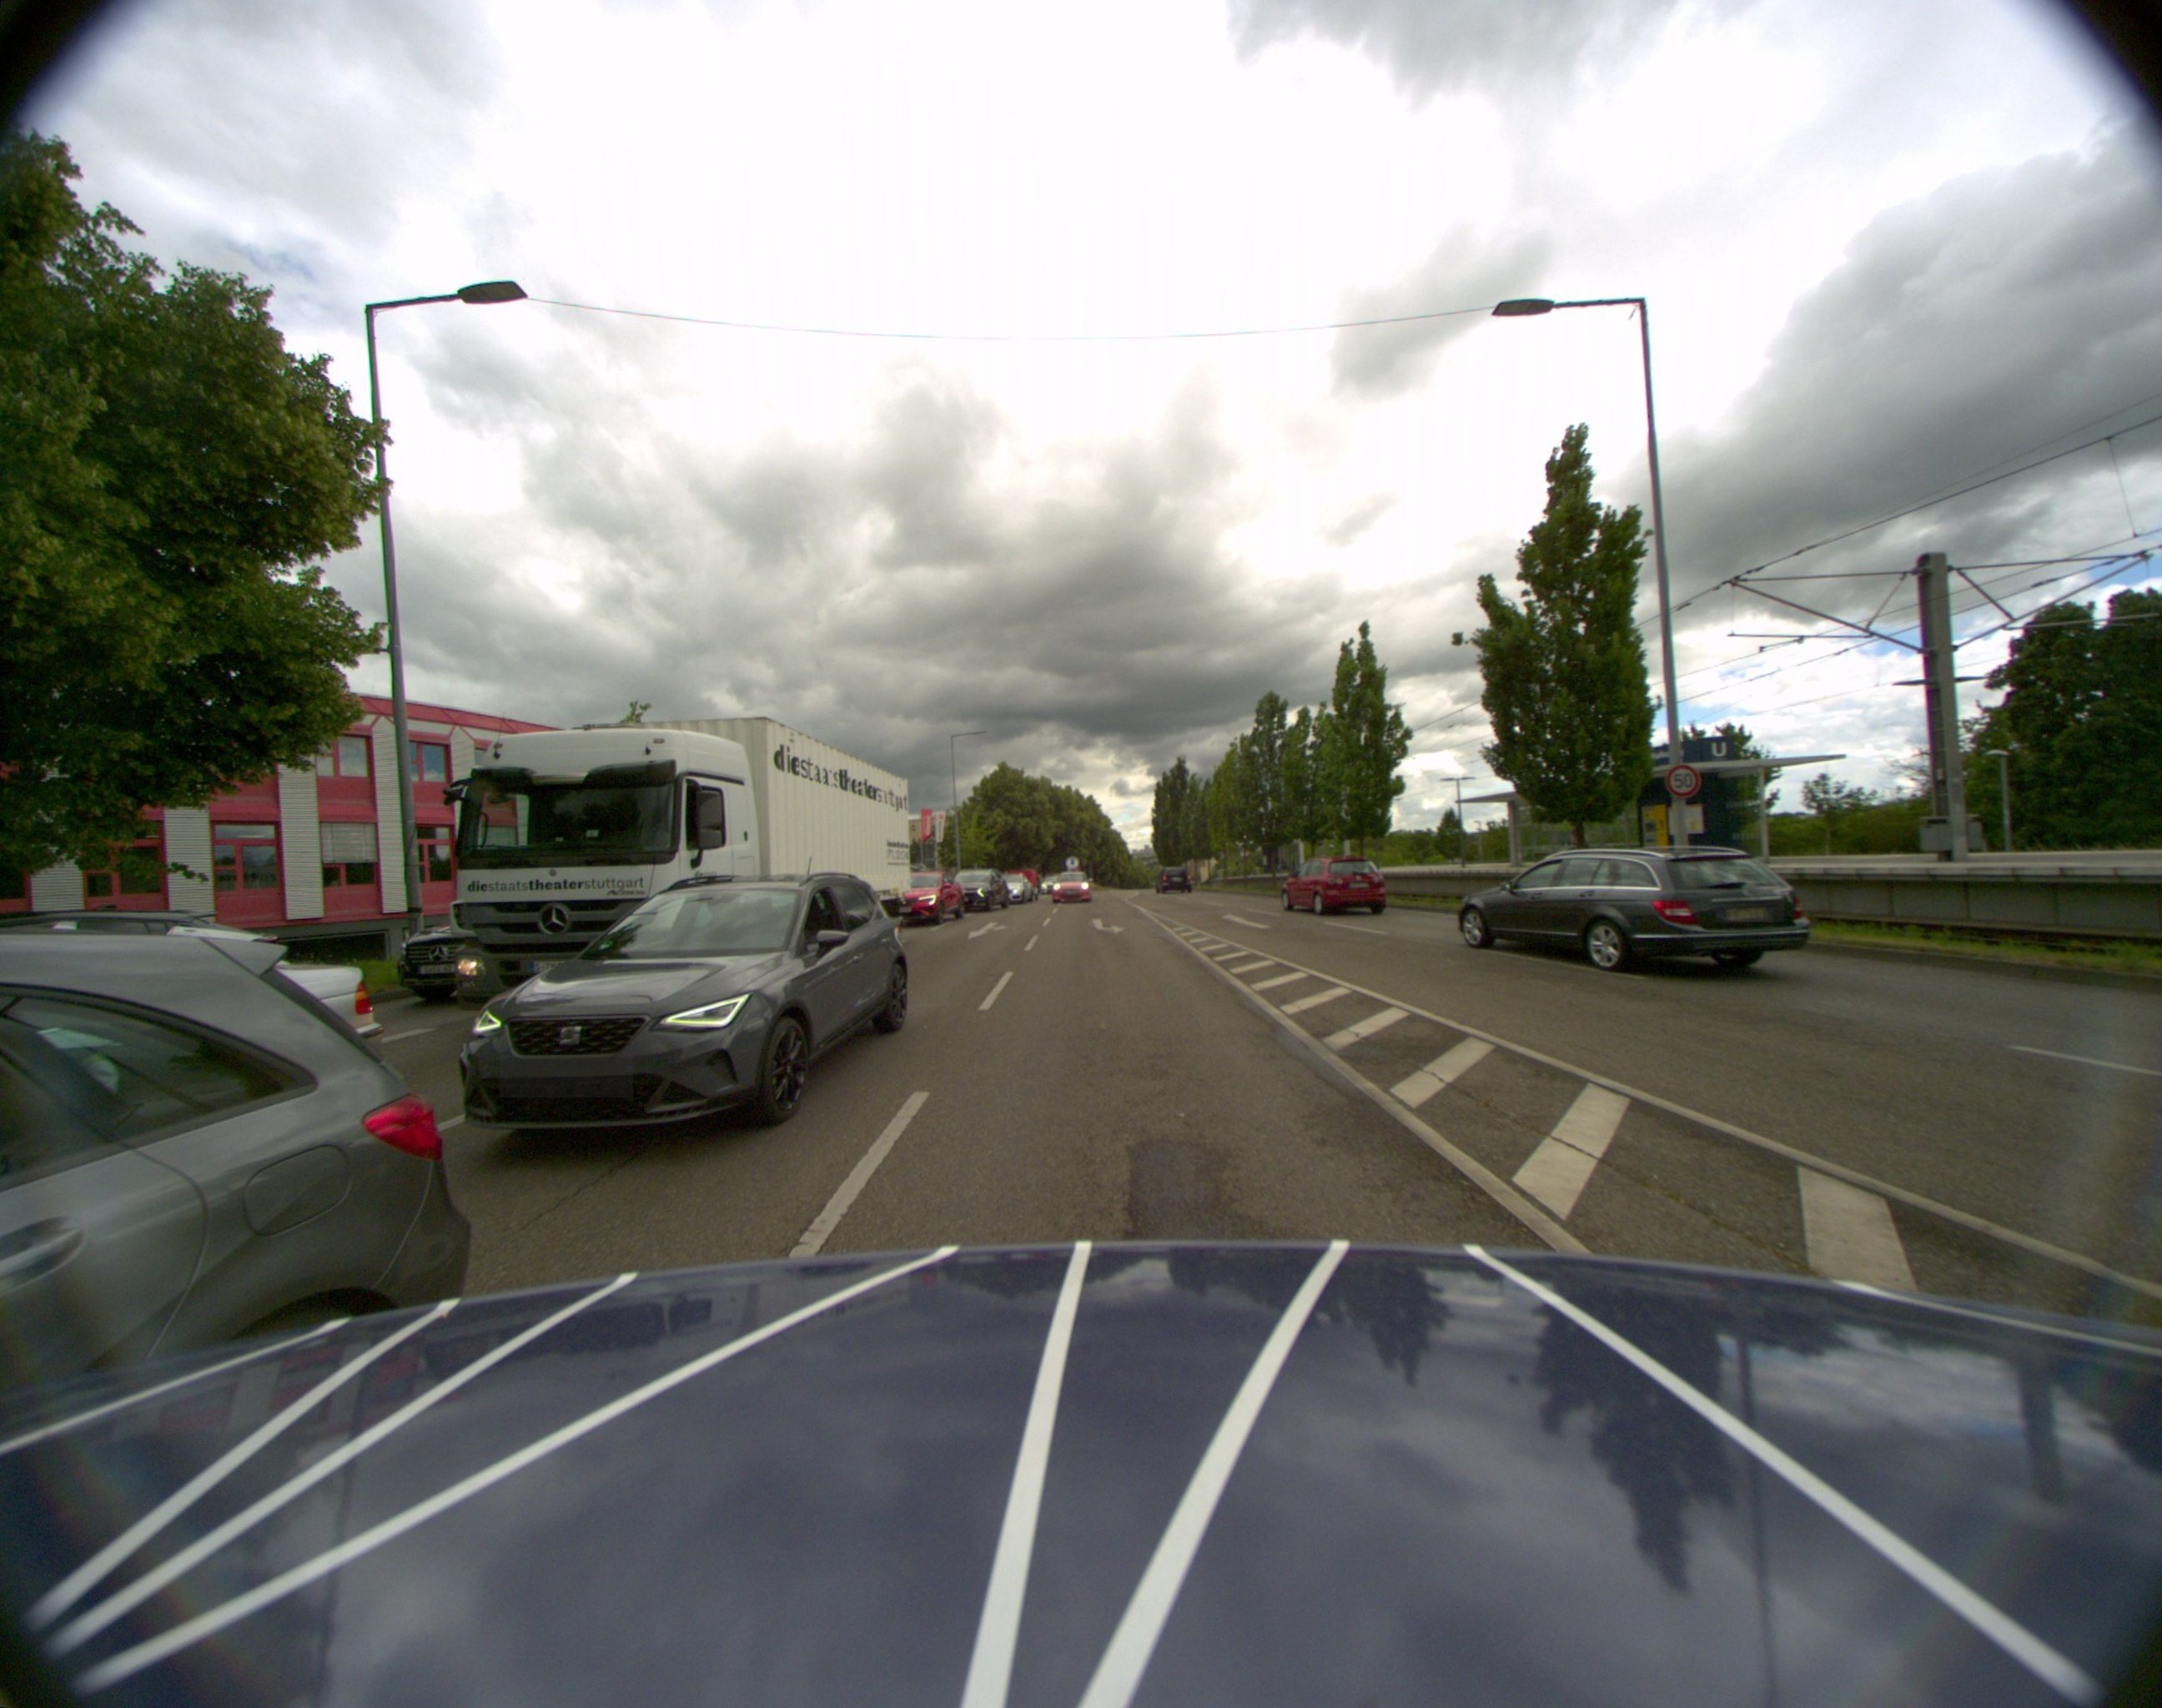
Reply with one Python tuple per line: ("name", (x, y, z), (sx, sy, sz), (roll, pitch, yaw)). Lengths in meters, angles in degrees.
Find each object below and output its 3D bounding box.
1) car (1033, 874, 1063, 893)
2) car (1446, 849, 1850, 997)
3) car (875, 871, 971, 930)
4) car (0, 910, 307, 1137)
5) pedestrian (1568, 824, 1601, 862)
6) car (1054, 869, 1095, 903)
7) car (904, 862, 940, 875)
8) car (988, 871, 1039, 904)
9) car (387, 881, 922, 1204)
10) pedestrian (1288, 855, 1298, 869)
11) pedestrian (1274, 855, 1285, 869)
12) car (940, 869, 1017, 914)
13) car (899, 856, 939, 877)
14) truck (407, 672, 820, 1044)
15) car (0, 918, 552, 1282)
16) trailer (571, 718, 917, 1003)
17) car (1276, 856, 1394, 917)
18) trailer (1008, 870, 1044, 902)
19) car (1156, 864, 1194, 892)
("car", (-2.458, 2.262, 57.523), (1.739, 1.365, 4.003), (-2, -3, 5))
("car", (6.874, 0.713, 9.996), (1.695, 1.431, 4.544), (-3, 0, -3))
("car", (-4.710, 1.346, 23.294), (1.711, 1.515, 4.321), (-2, -1, 4))
("car", (-8.670, 1.388, 5.772), (1.645, 1.487, 3.683), (-6, 0, 0))
("pedestrian", (17.633, -0.389, 26.637), (0.611, 1.261, 0.660), (-2, -3, -4))
("car", (-0.268, 1.485, 35.843), (1.722, 1.448, 3.698), (-2, -1, 2))
("car", (-19.448, 1.774, 92.977), (3.762, 1.355, 1.757), (-4, -3, 10))
("car", (-3.193, 1.570, 36.689), (1.675, 1.439, 4.492), (-2, -1, 5))
("car", (-2.600, 1.039, 5.866), (1.702, 1.477, 4.001), (-2, 0, 2))
("pedestrian", (17.358, 0.676, 62.289), (0.608, 1.072, 0.470), (-2, -2, 0))
("pedestrian", (16.523, 0.673, 63.283), (0.763, 1.192, 0.665), (-2, -1, 0))
("car", (-3.933, 1.424, 29.961), (1.848, 1.552, 4.407), (-2, -1, 7))
("car", (-17.533, 1.379, 82.375), (3.762, 1.946, 1.645), (-4, -3, 10))
("truck", (-5.444, 0.085, 9.733), (2.577, 3.683, 4.107), (-2, -1, 2))
("car", (-5.486, 1.209, 4.307), (1.816, 1.346, 4.120), (-2, -1, 5))
("trailer", (-5.297, 0.148, 13.918), (2.572, 3.683, 7.766), (-2, -1, 2))
("car", (6.945, 0.857, 21.249), (1.707, 1.479, 4.086), (-2, -1, -3))
("trailer", (-2.912, 1.672, 40.570), (1.412, 1.584, 3.305), (-2, -1, 4))
("car", (5.660, 1.432, 46.160), (1.730, 1.564, 3.708), (-2, -2, -1))
